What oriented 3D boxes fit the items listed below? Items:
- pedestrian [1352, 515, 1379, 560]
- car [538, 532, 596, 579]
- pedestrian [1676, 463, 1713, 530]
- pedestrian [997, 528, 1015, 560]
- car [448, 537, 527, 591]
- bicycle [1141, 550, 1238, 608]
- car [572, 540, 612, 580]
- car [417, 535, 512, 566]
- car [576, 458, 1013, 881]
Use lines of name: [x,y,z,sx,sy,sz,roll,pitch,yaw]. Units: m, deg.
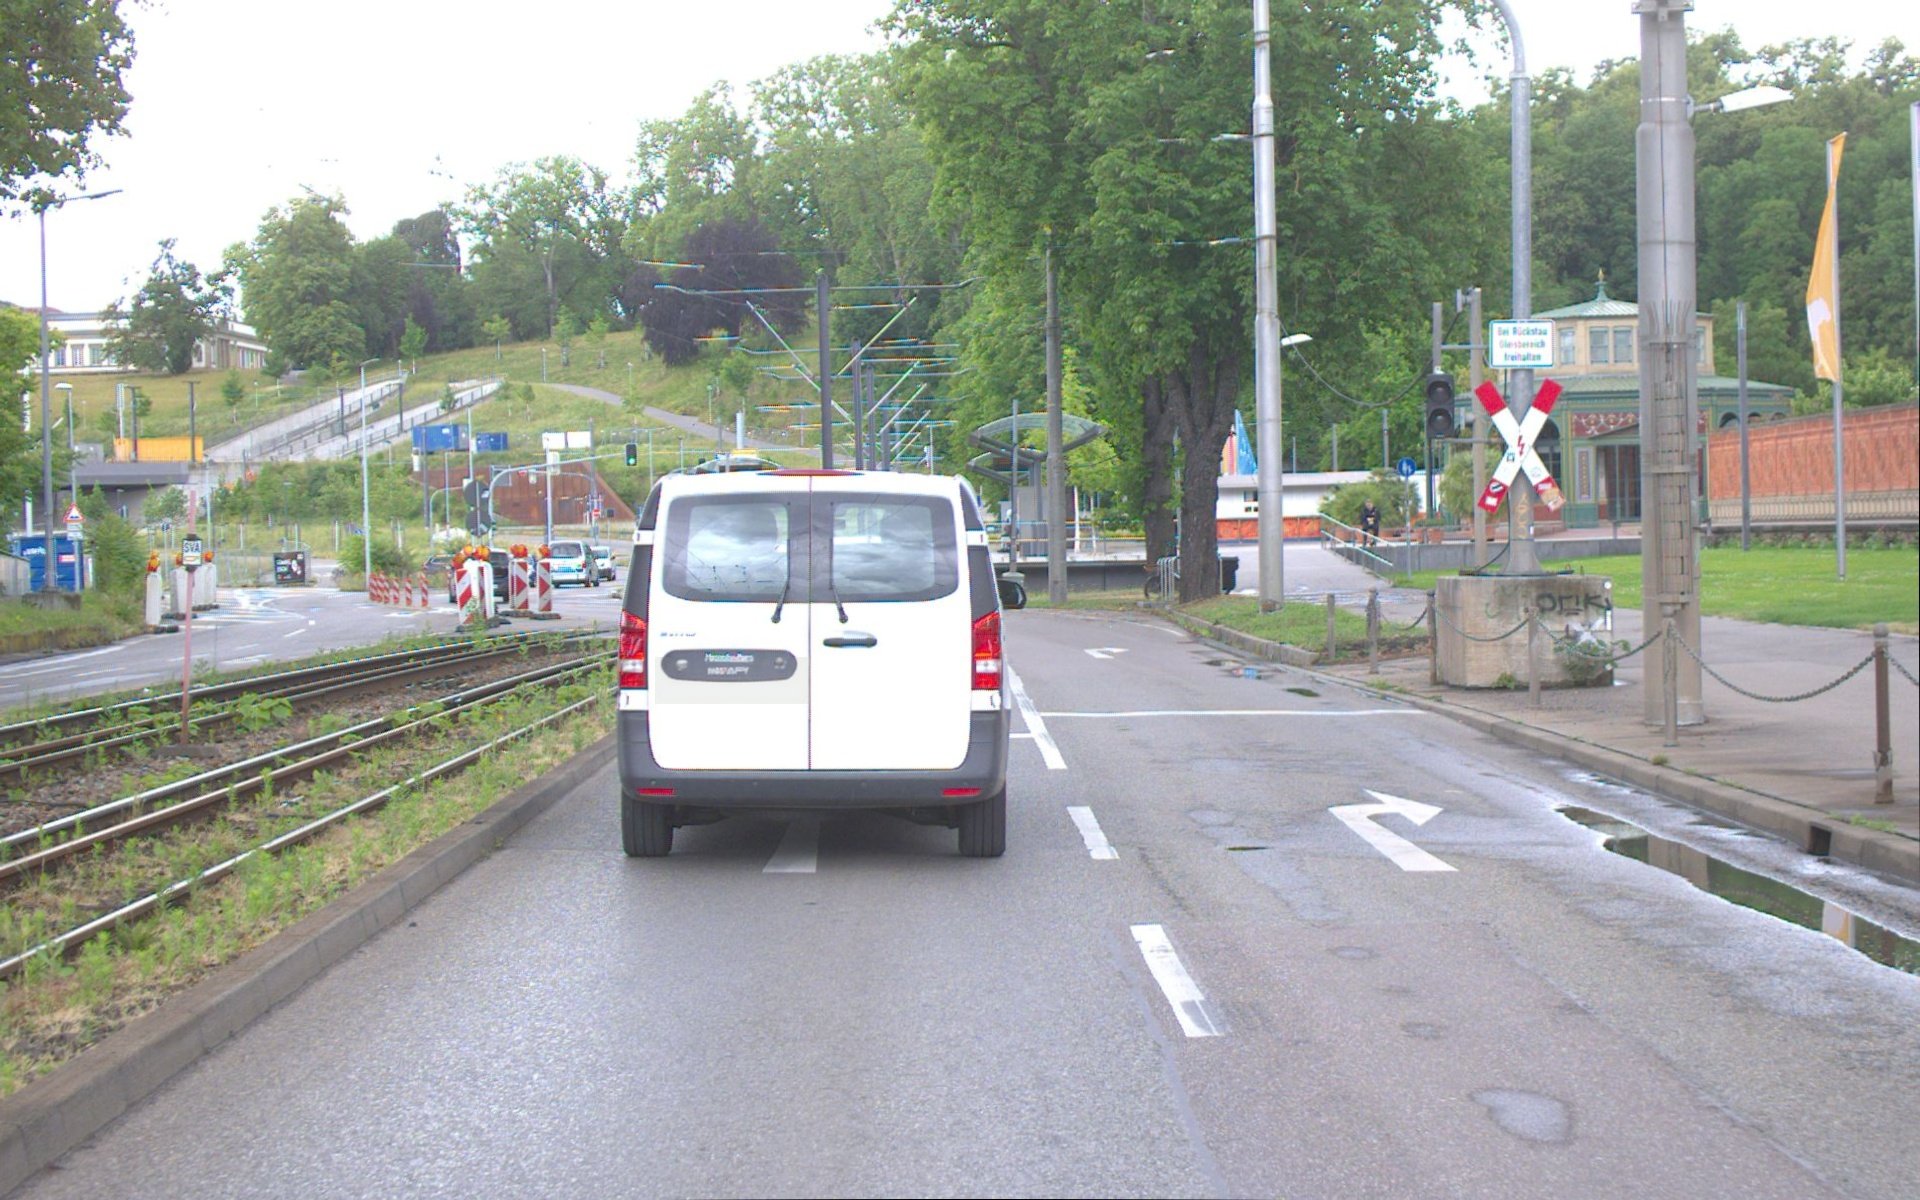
pedestrian: [10.779,-1.653,91.358,0.548,1.197,0.669,1,0,-6]
car: [-15.180,-1.709,132.832,1.752,1.766,4.000,1,0,0]
pedestrian: [20.195,-2.844,94.525,0.949,1.831,0.549,1,0,9]
pedestrian: [1.750,-2.130,131.234,0.657,1.187,0.675,1,0,2]
car: [-12.942,-0.985,94.094,1.838,1.462,4.063,0,1,-12]
bicycle: [4.812,-0.439,72.023,1.991,1.154,0.741,-2,1,5]
car: [-19.195,-2.079,179.566,1.934,2.007,4.001,1,0,-4]
car: [-27.095,-2.722,188.054,4.711,1.472,1.999,-2,2,10]
car: [-0.778,0.291,17.646,1.959,1.897,4.462,0,1,-1]
